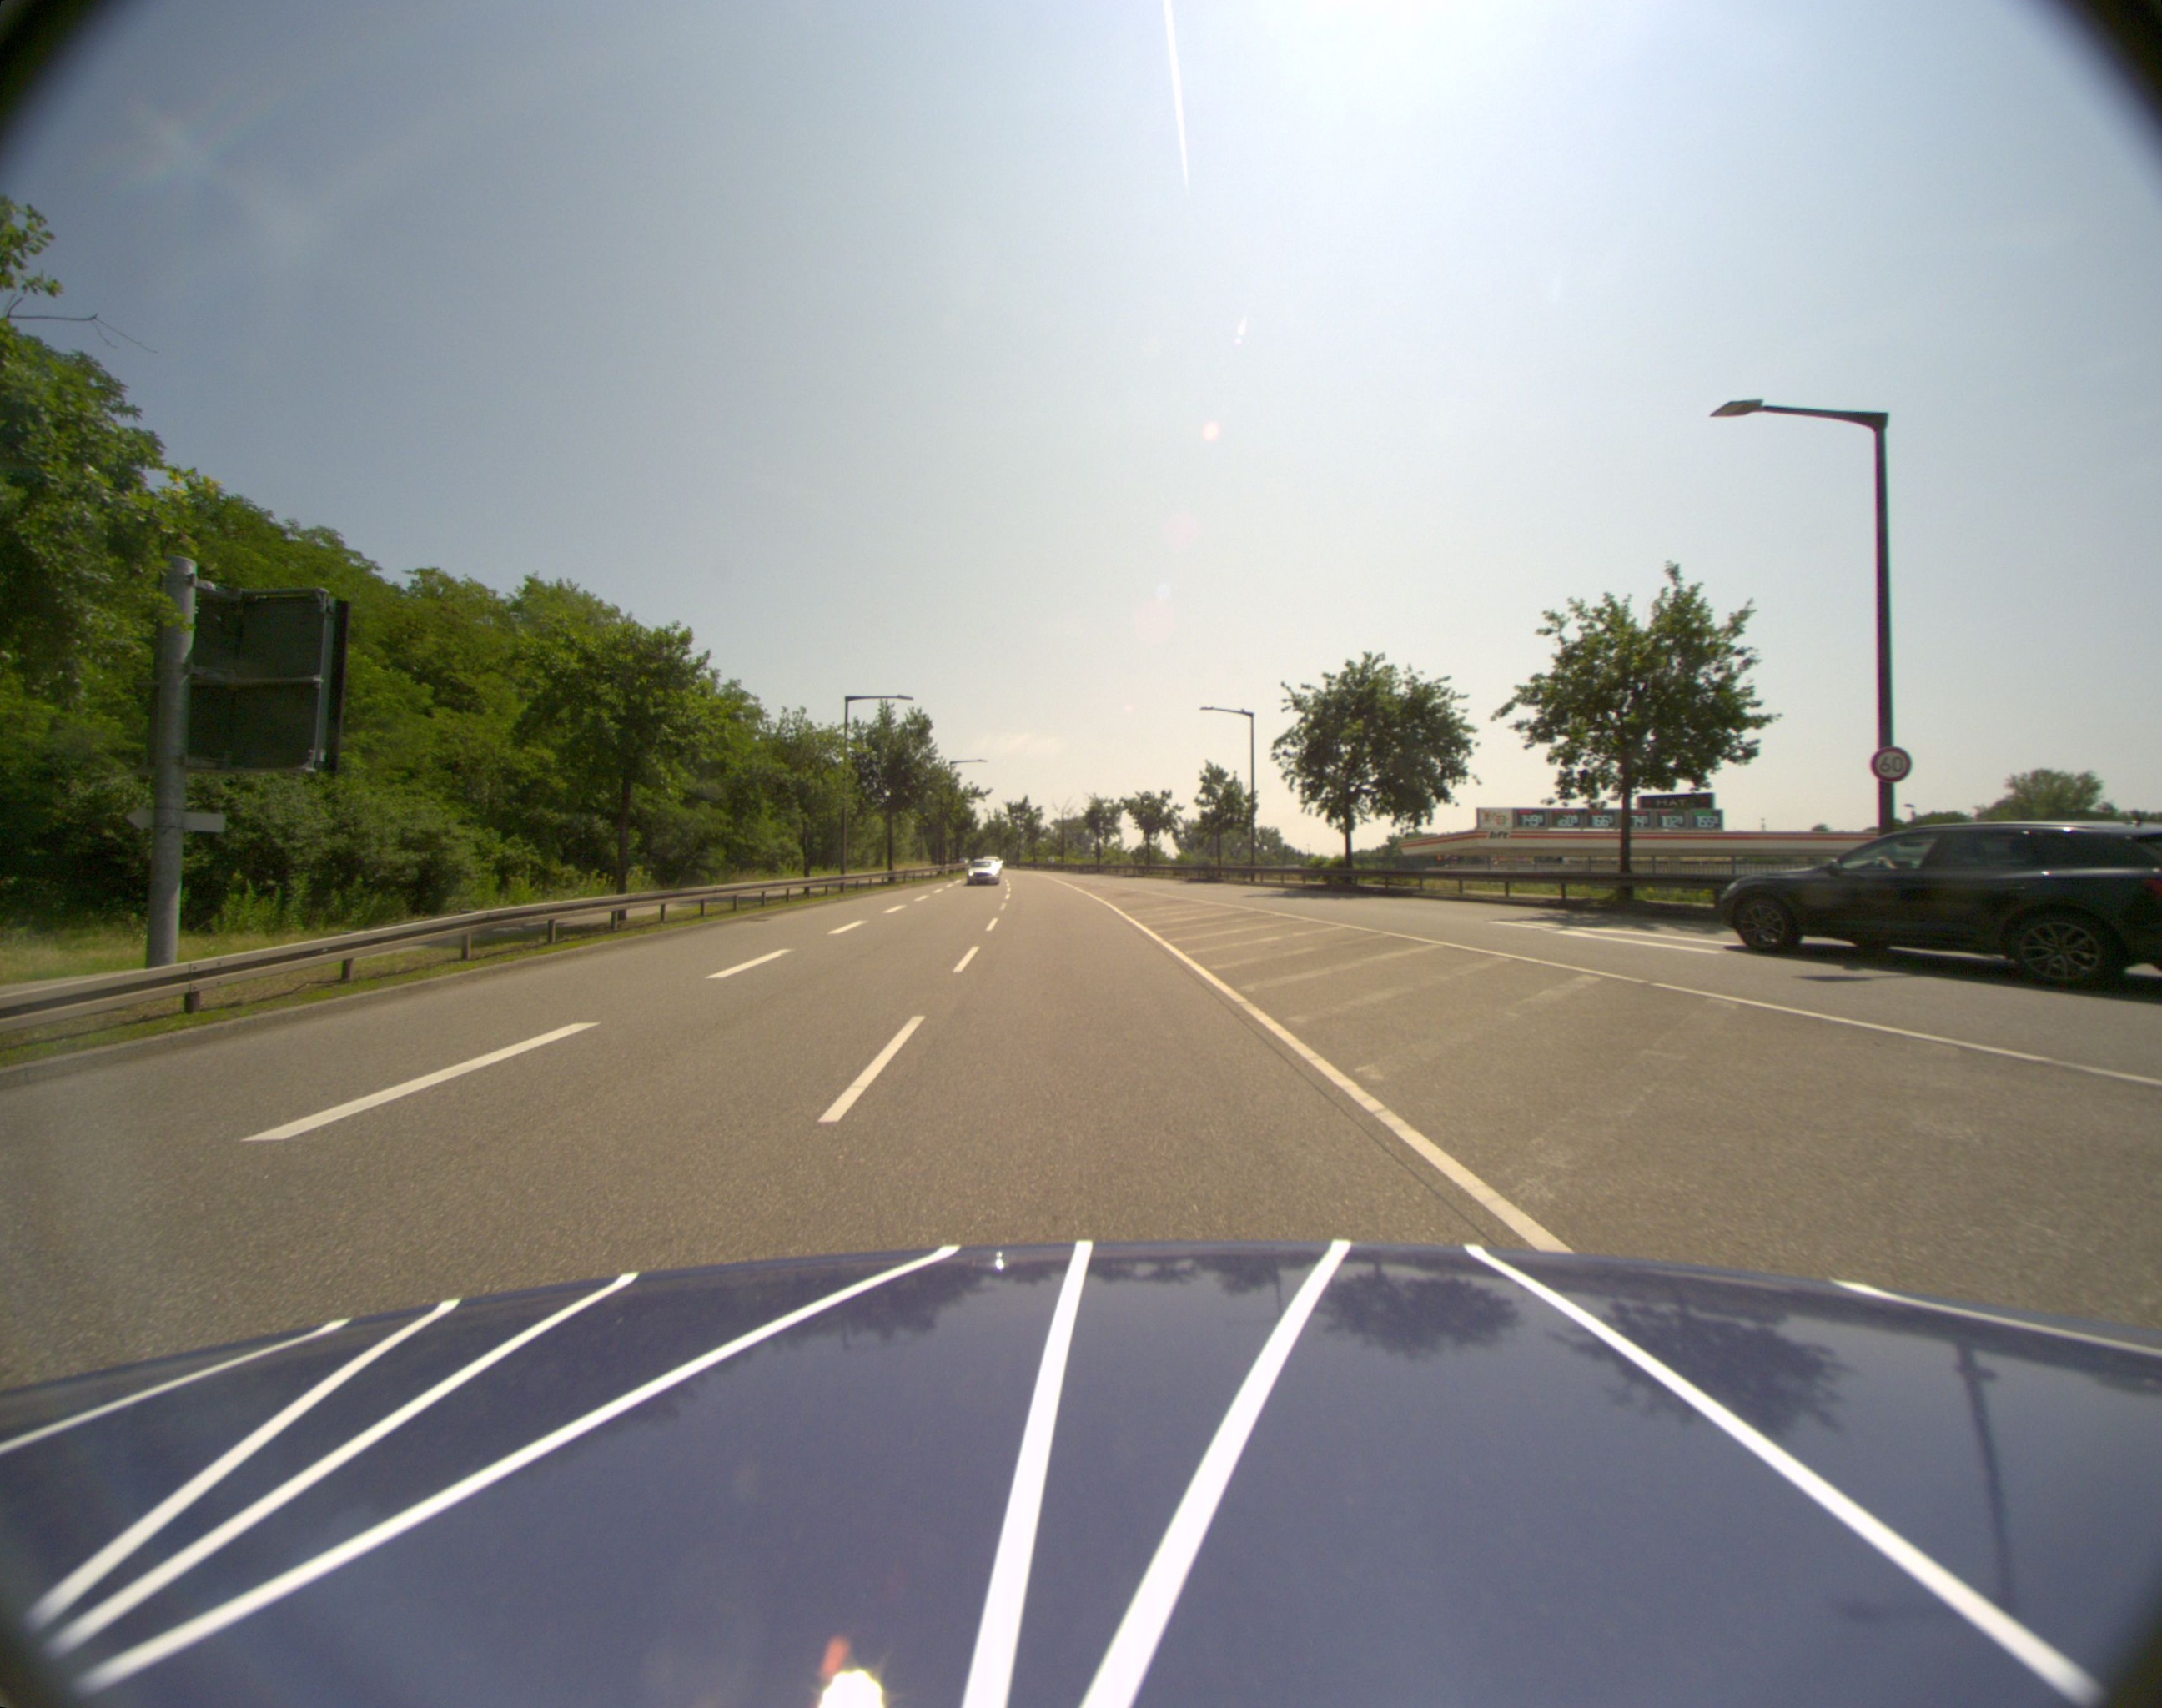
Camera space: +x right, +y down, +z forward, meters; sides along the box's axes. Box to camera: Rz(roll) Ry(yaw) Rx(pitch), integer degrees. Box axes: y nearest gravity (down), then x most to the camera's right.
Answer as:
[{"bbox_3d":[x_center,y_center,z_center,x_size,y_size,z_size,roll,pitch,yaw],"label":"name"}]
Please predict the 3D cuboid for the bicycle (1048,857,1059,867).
[{"bbox_3d":[-3.266,0.965,89.294,0.737,1.110,2.043,4,0,-15],"label":"bicycle"}]

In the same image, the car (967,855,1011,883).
[{"bbox_3d":[-5.100,0.821,42.692,1.763,1.490,4.234,-1,-1,2],"label":"car"}]

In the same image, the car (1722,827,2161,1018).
[{"bbox_3d":[10.183,0.568,8.566,1.920,1.642,4.404,-2,1,-6],"label":"car"}]

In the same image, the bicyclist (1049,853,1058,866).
[{"bbox_3d":[-3.219,0.655,89.221,0.732,1.457,0.823,4,0,-15],"label":"bicyclist"}]

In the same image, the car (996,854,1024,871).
[{"bbox_3d":[-6.199,0.758,66.018,2.000,1.361,4.230,-1,-1,-10],"label":"car"}]
